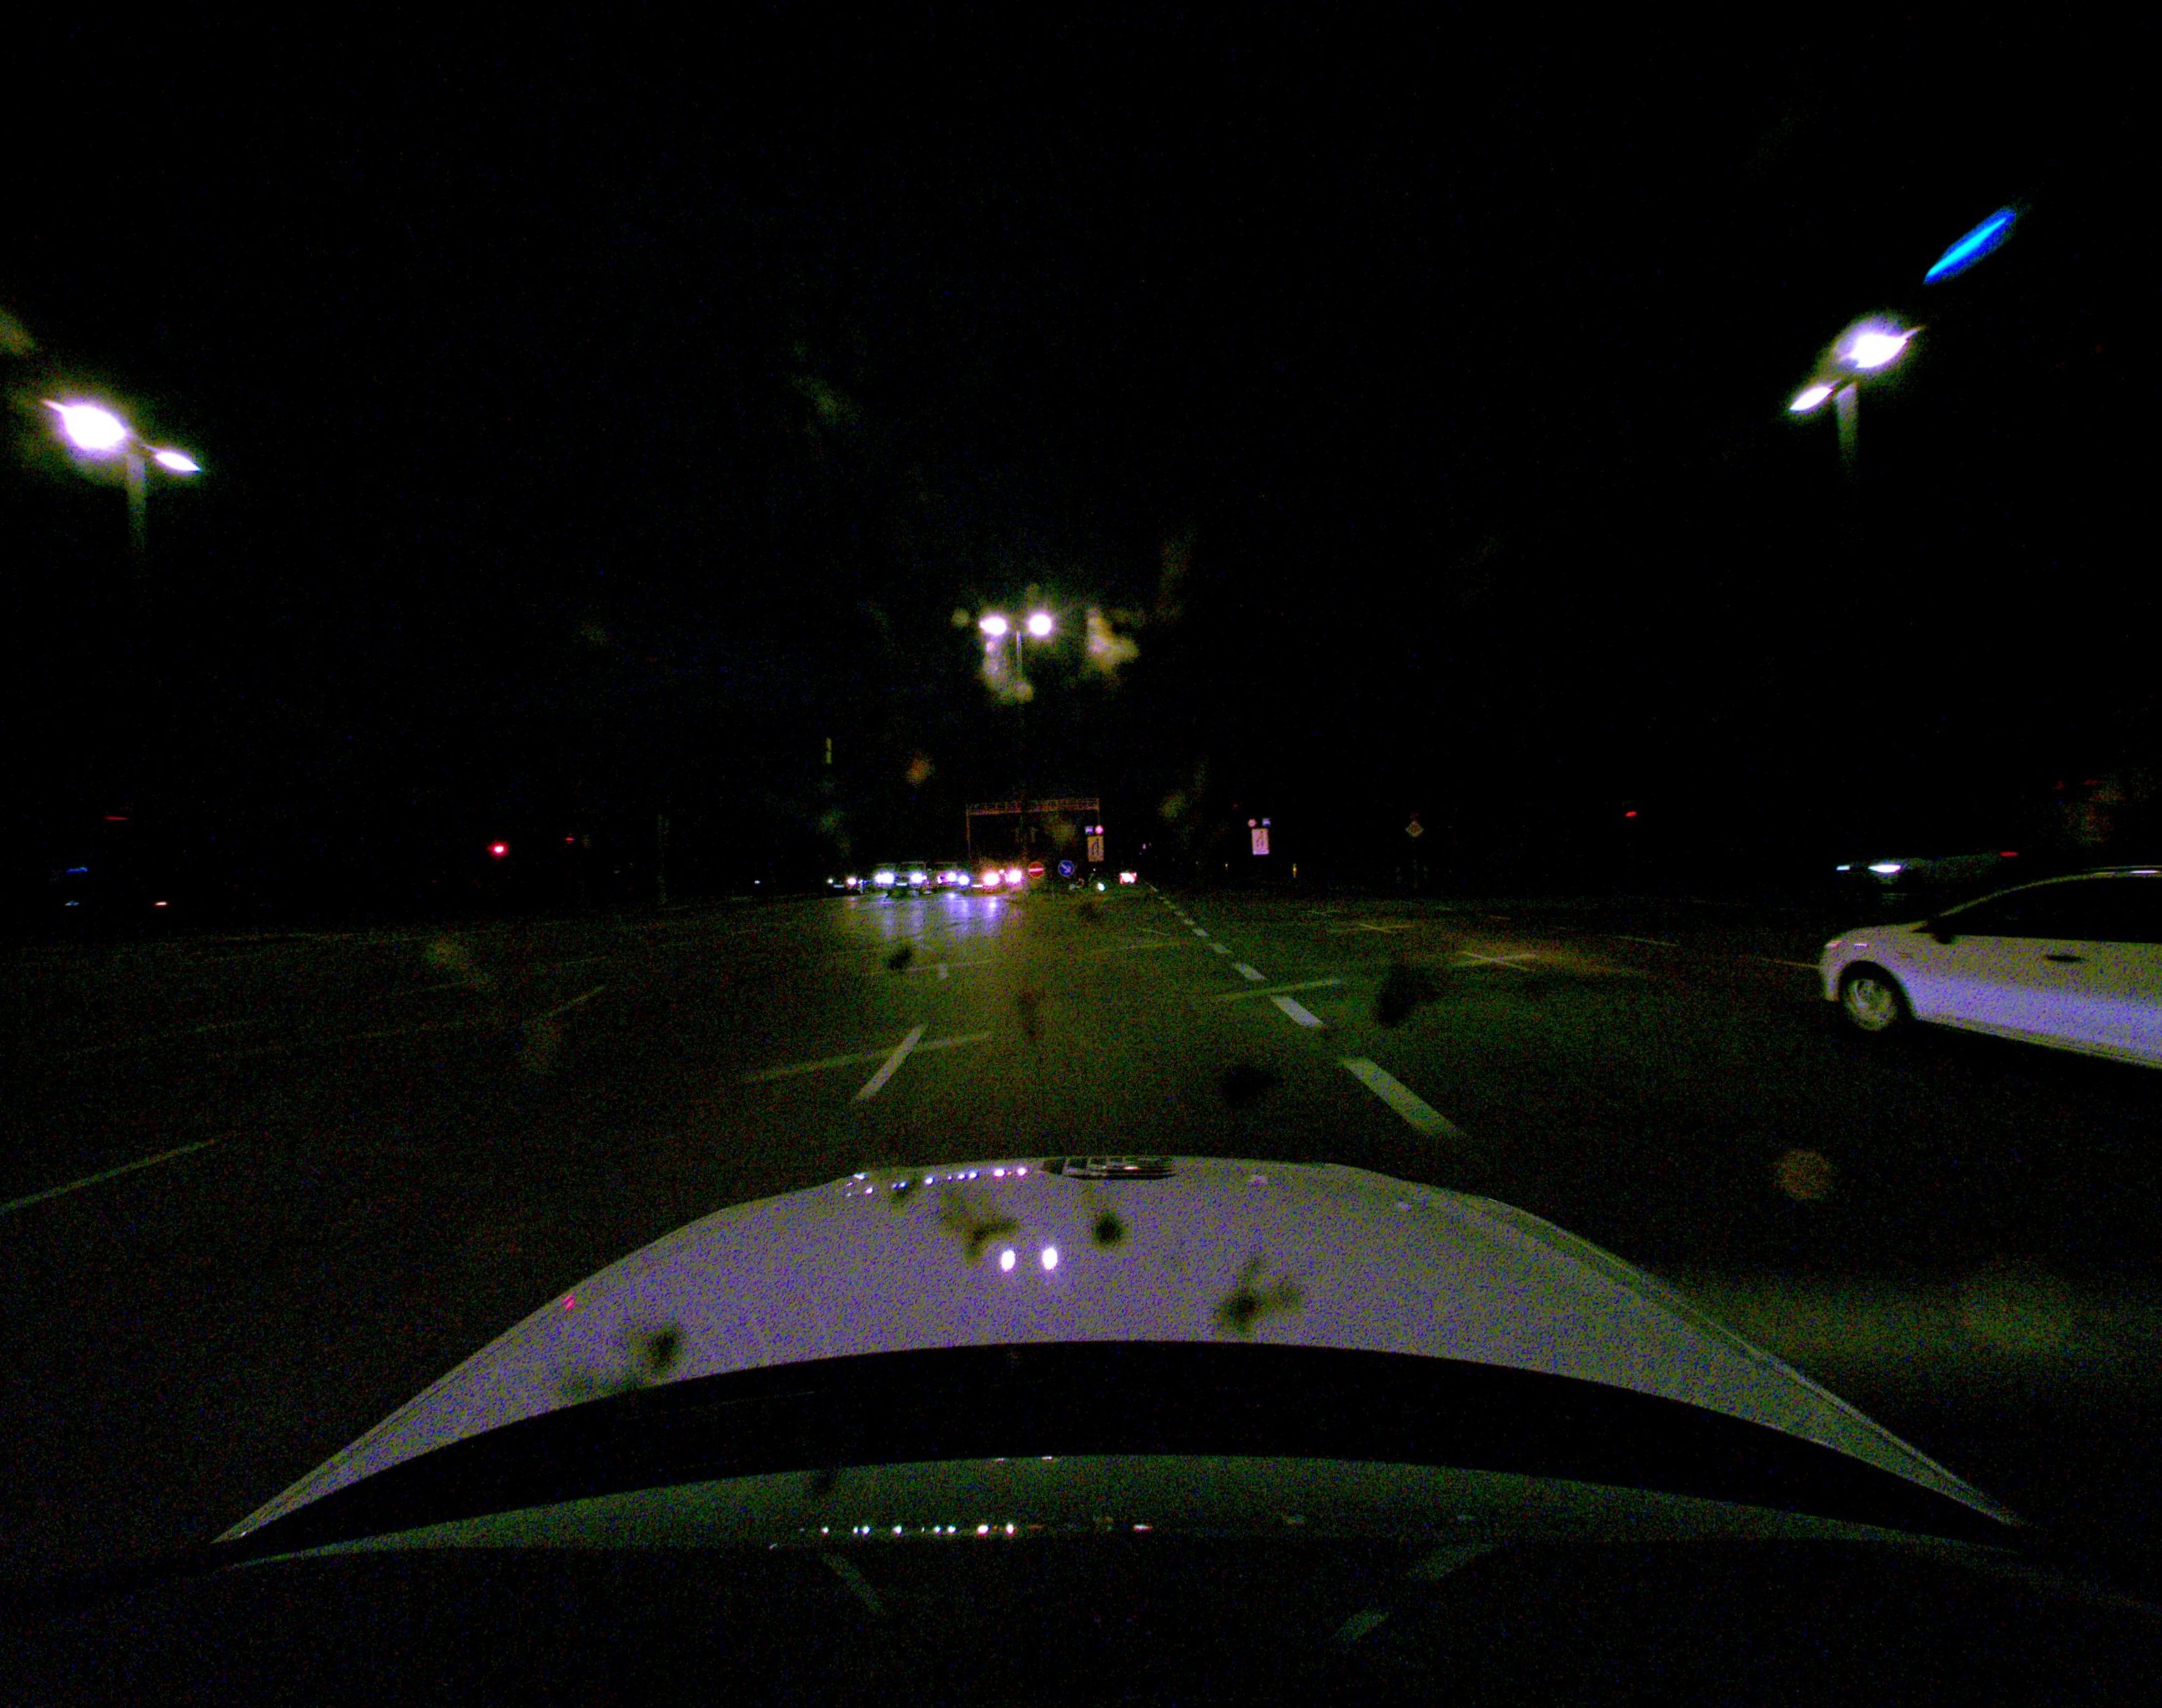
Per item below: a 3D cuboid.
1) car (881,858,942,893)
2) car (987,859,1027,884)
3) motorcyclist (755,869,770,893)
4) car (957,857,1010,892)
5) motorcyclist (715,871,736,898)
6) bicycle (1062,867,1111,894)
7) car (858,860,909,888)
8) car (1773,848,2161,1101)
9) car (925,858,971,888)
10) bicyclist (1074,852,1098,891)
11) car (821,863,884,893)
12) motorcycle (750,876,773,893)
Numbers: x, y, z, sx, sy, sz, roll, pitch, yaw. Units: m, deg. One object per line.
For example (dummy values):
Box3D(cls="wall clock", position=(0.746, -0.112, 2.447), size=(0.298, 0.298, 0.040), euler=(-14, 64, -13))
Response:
Box3D(cls="car", position=(-8.565, 1.052, 41.583), size=(1.900, 1.682, 4.425), euler=(-1, 0, 4))
Box3D(cls="car", position=(-4.434, 1.031, 49.429), size=(1.765, 1.481, 3.914), euler=(0, 0, 4))
Box3D(cls="motorcyclist", position=(-24.084, 2.013, 61.515), size=(0.679, 1.759, 0.790), euler=(-5, -3, 3))
Box3D(cls="car", position=(-4.911, 1.016, 41.708), size=(1.844, 1.633, 4.589), euler=(-1, 0, 4))
Box3D(cls="motorcyclist", position=(-24.824, 2.113, 56.897), size=(0.909, 1.809, 0.872), euler=(-6, -4, 9))
Box3D(cls="bicycle", position=(0.241, 1.139, 35.239), size=(2.056, 1.101, 0.694), euler=(-1, -1, -3))
Box3D(cls="car", position=(-11.793, 1.174, 48.861), size=(1.824, 1.524, 4.004), euler=(-2, 0, 3))
Box3D(cls="car", position=(7.080, 0.697, 5.313), size=(1.614, 1.443, 4.117), euler=(-2, -1, 0))
Box3D(cls="car", position=(-7.883, 1.087, 48.639), size=(1.738, 1.626, 4.368), euler=(-1, 0, 4))
Box3D(cls="bicyclist", position=(0.203, 0.770, 35.258), size=(0.994, 1.651, 0.603), euler=(-1, -1, -3))
Box3D(cls="car", position=(-11.934, 1.239, 42.846), size=(1.772, 1.446, 4.297), euler=(-1, 0, 5))
Box3D(cls="motorcycle", position=(-24.094, 2.305, 61.351), size=(0.843, 1.181, 1.823), euler=(-5, -3, 3))
